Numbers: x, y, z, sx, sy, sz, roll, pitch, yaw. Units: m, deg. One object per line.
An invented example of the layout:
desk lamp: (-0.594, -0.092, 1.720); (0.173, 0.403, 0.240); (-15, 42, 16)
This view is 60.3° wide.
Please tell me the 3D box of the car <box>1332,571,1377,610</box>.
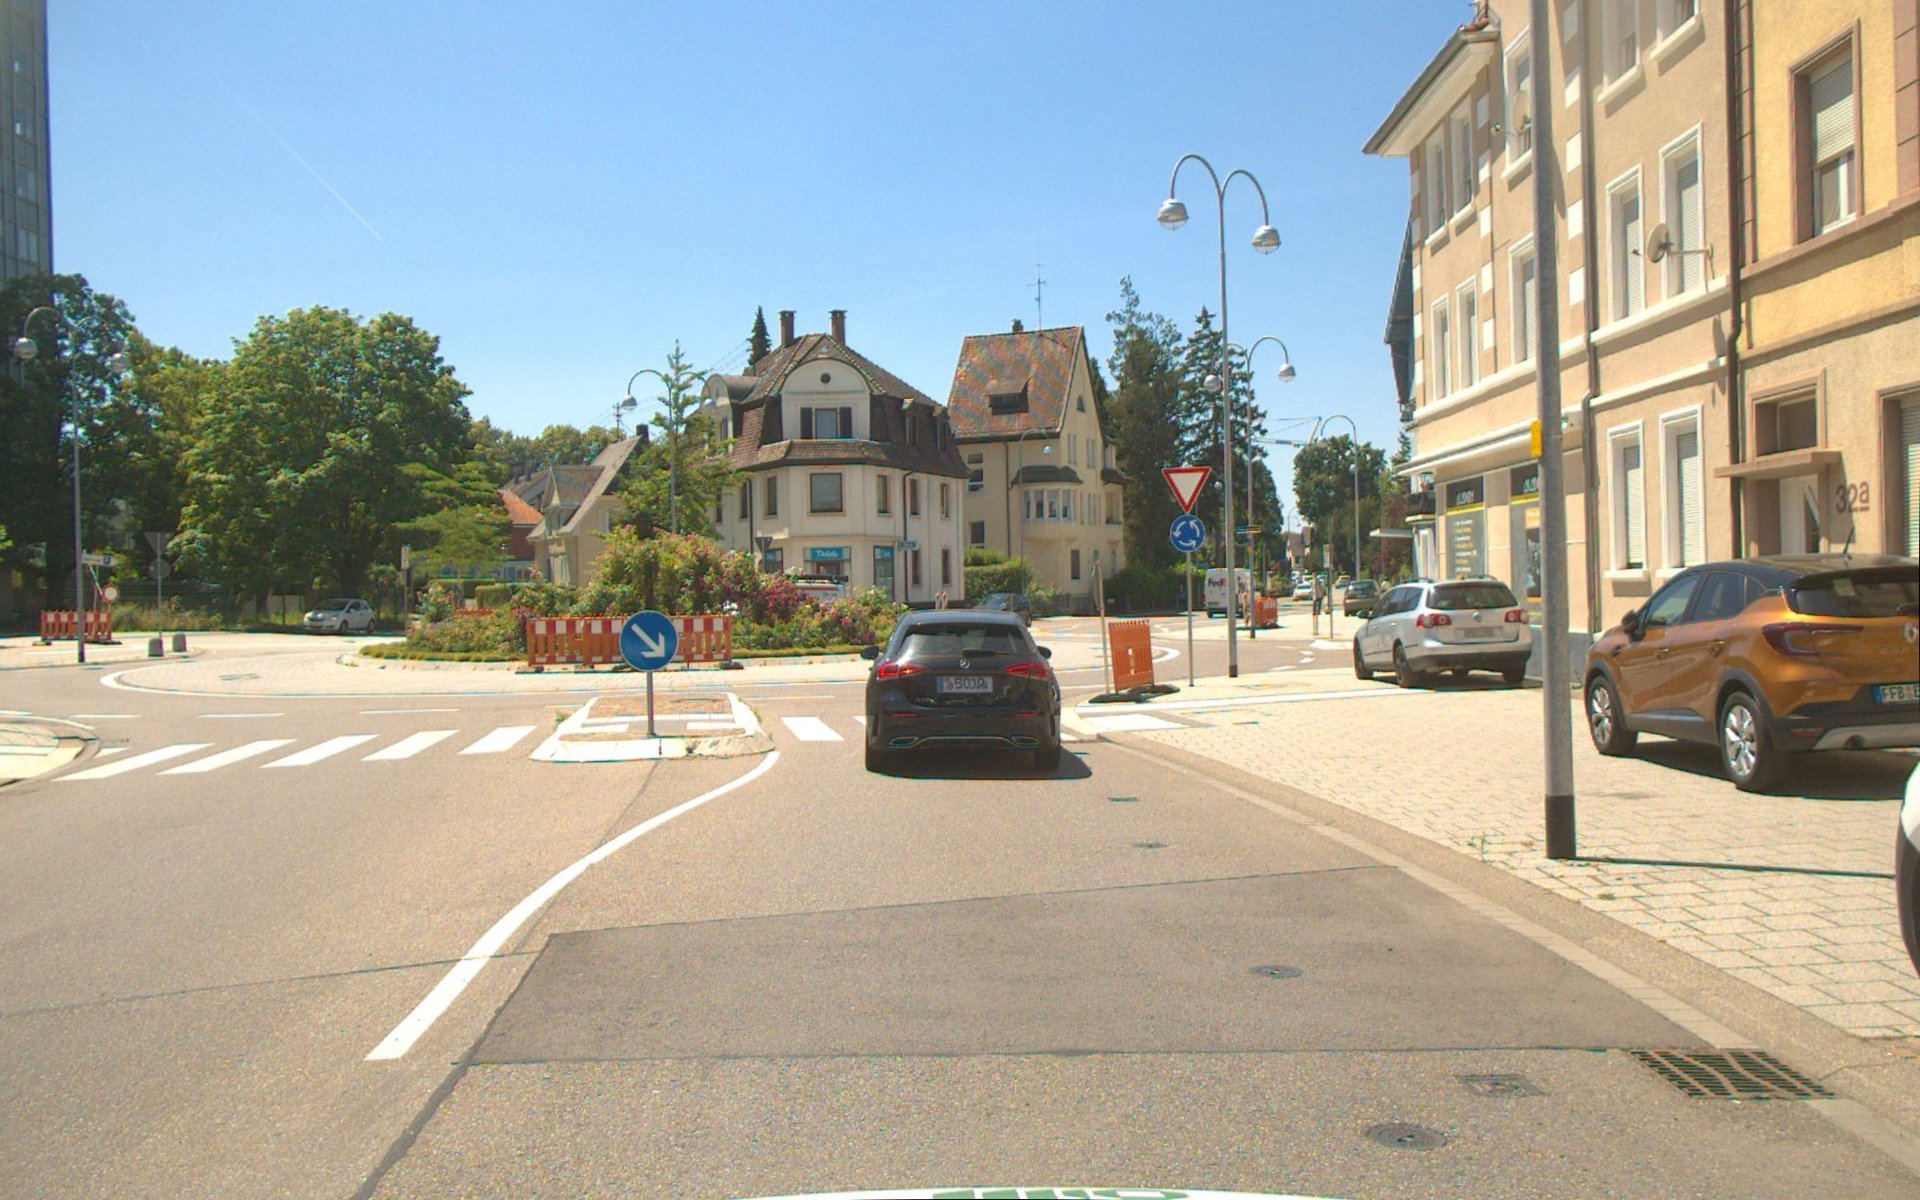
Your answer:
car: (17.548, -0.436, 73.440); (1.605, 1.533, 3.566); (-4, 0, 18)

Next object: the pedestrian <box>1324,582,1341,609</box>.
pedestrian: (18.930, -0.241, 84.110); (0.653, 1.308, 0.587); (-5, -1, 25)

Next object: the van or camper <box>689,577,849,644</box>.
van or camper: (-6.609, 0.337, 57.510); (5.363, 2.210, 1.971); (-1, 0, -40)

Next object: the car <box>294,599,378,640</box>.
car: (-26.749, 0.859, 71.038); (1.747, 1.625, 3.922); (-1, -2, 6)

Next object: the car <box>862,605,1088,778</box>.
car: (0.076, 0.797, 16.081); (1.914, 1.452, 3.998); (0, -1, -2)

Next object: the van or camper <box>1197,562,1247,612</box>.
van or camper: (14.177, -0.699, 89.396); (2.159, 2.656, 4.003); (-1, 0, 16)

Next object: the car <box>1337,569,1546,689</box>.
car: (7.064, 0.416, 24.757); (1.728, 1.557, 4.690); (-3, -1, 0)

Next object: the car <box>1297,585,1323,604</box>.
car: (31.089, -0.476, 146.714); (1.951, 1.680, 4.003); (-1, 0, 16)

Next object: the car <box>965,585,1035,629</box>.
car: (1.708, 0.286, 69.427); (1.880, 1.803, 4.002); (1, 0, 17)

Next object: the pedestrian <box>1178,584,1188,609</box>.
pedestrian: (14.155, -0.226, 104.970); (0.512, 1.535, 0.473); (-1, 0, 24)

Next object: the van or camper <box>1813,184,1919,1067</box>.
van or camper: (3.943, 0.053, 2.560); (2.121, 2.634, 5.765); (-3, 0, -1)

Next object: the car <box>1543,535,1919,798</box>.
car: (6.162, 0.404, 12.910); (1.638, 1.648, 4.363); (-4, 0, 1)
